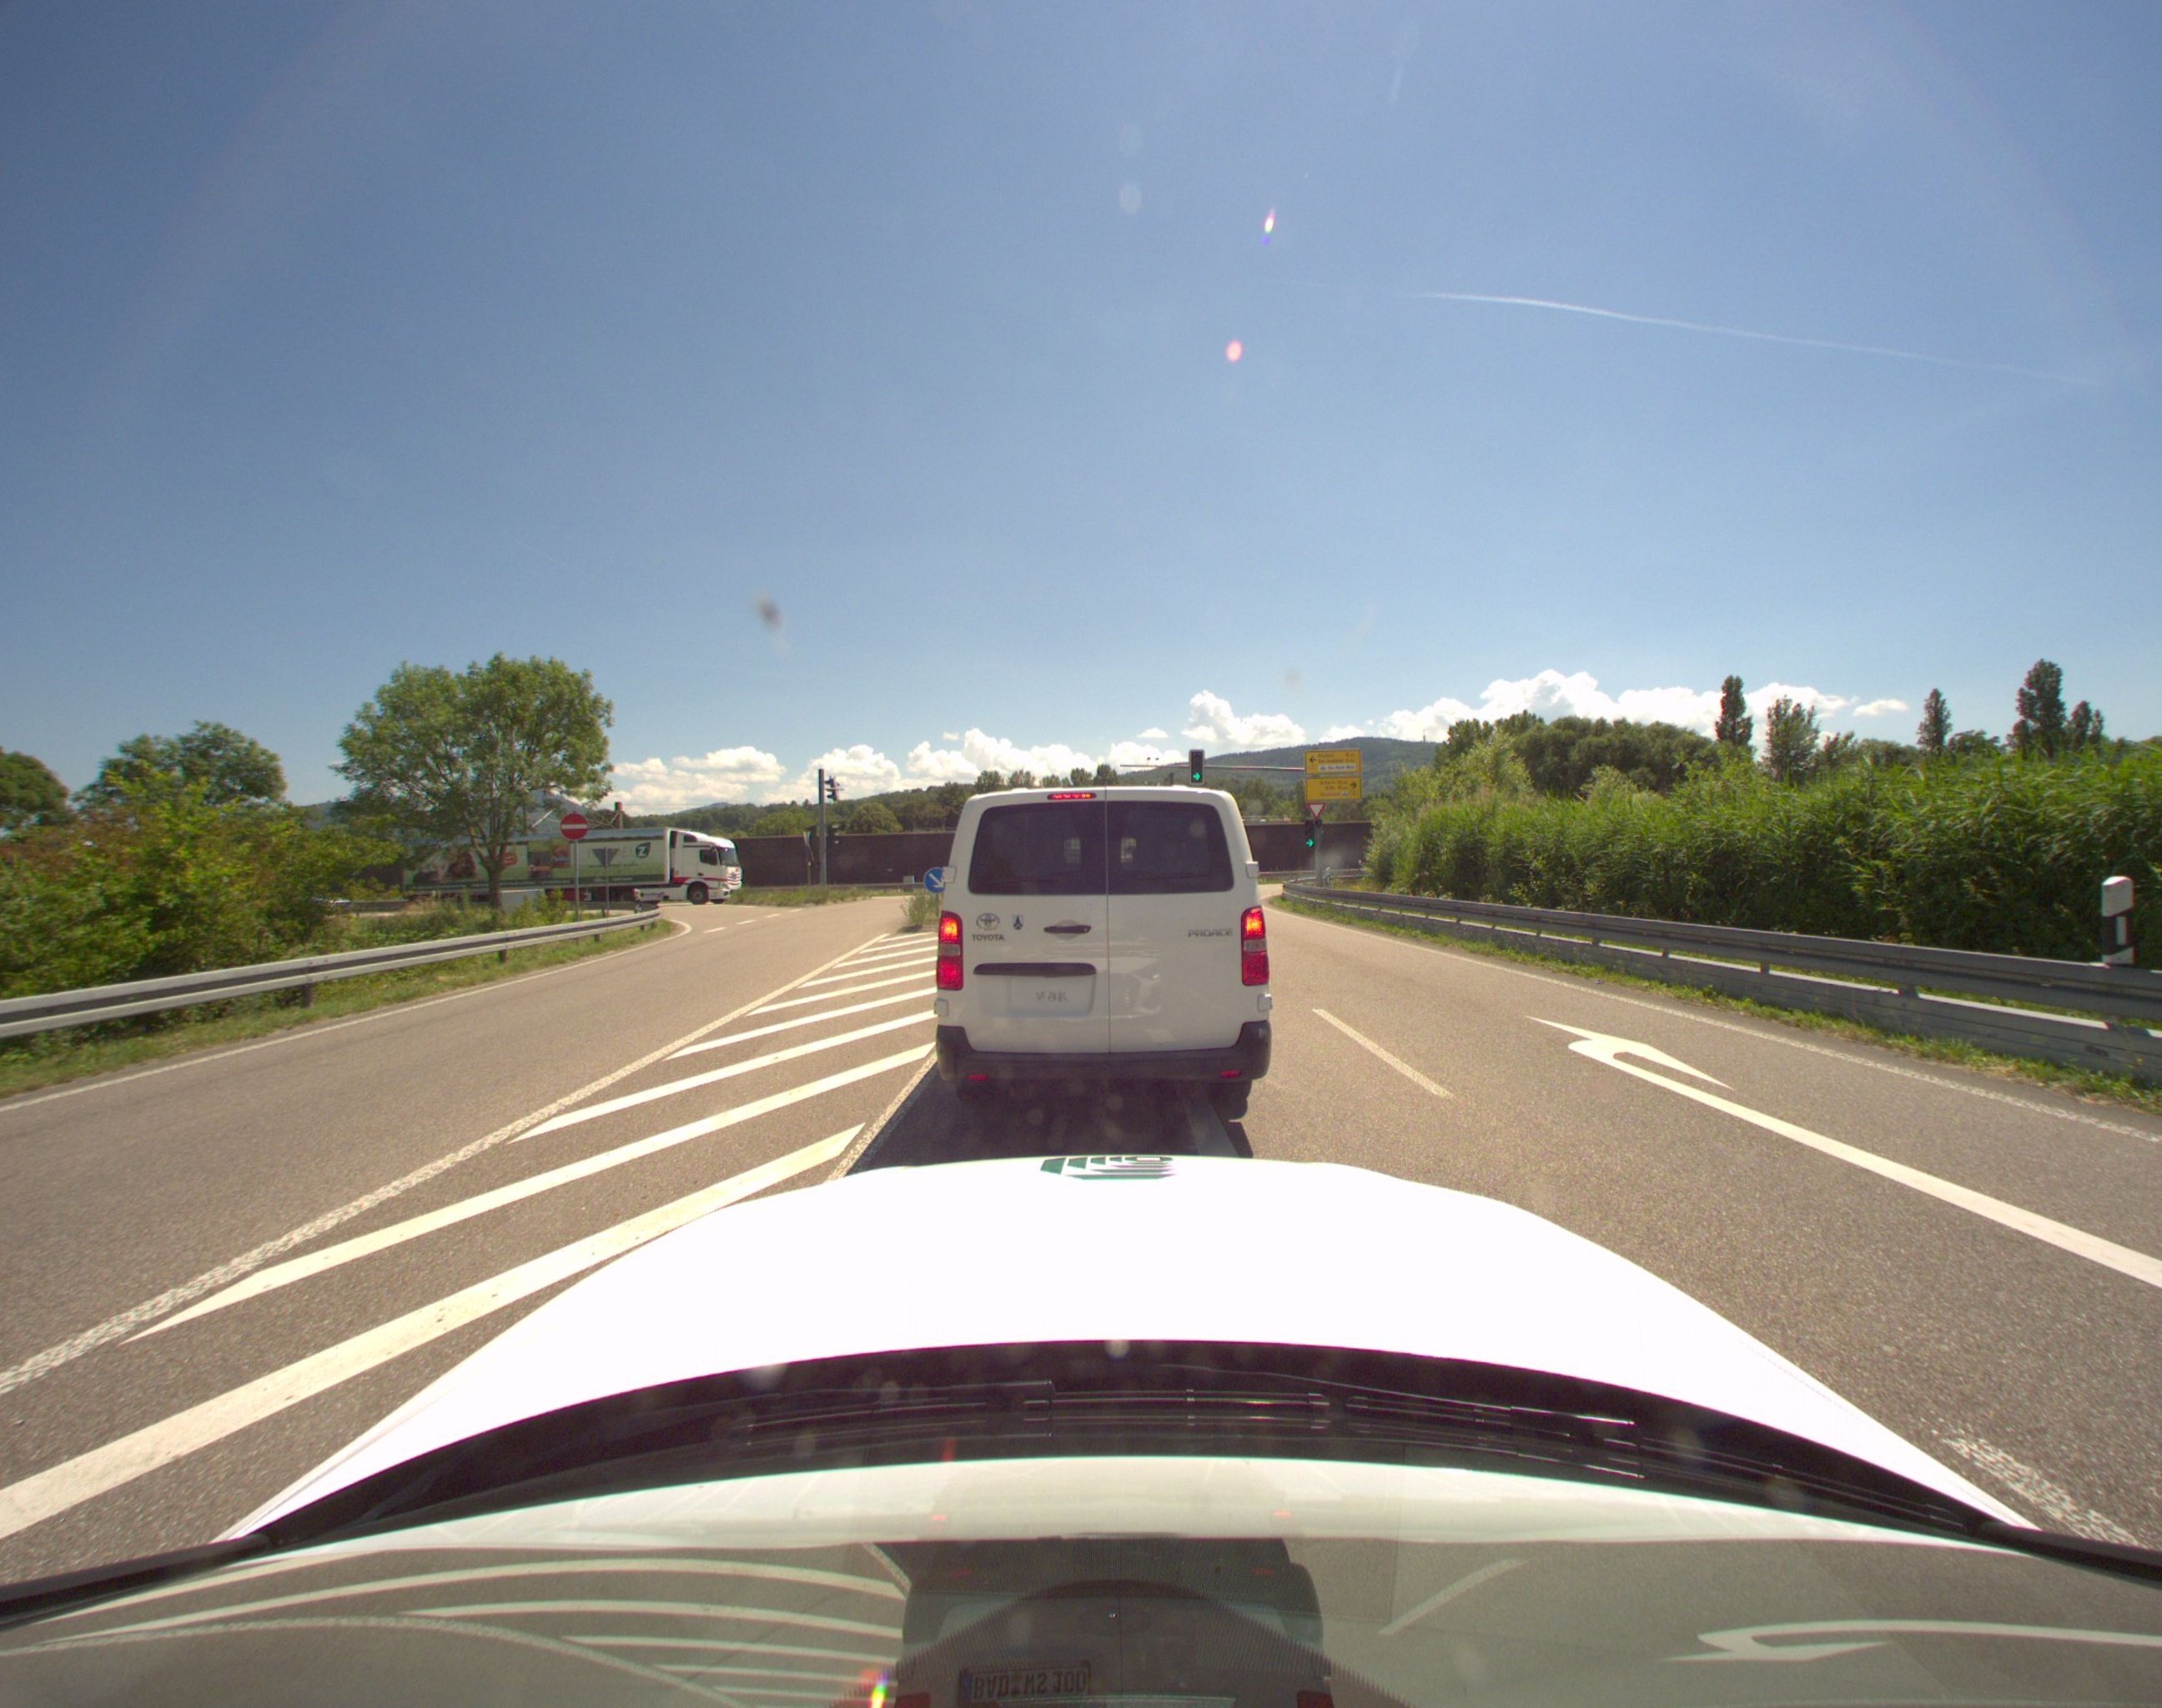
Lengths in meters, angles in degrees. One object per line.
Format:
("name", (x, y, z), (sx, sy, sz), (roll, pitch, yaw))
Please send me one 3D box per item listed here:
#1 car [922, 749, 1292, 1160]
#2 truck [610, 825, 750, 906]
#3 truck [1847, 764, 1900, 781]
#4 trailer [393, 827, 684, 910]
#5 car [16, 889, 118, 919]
("car", (0.186, 0.518, 6.065), (1.808, 2.017, 4.001), (-1, -1, 2))
("truck", (-20.954, 0.601, 42.800), (5.746, 3.954, 3.062), (-1, -1, 0))
("truck", (131.671, -13.575, 135.428), (2.335, 2.014, 6.923), (-1, -1, 2))
("trailer", (-28.212, 0.741, 42.744), (13.098, 3.954, 3.061), (-1, -1, 0))
("car", (-53.893, 2.653, 43.315), (3.462, 1.464, 1.554), (-1, -1, 0))
